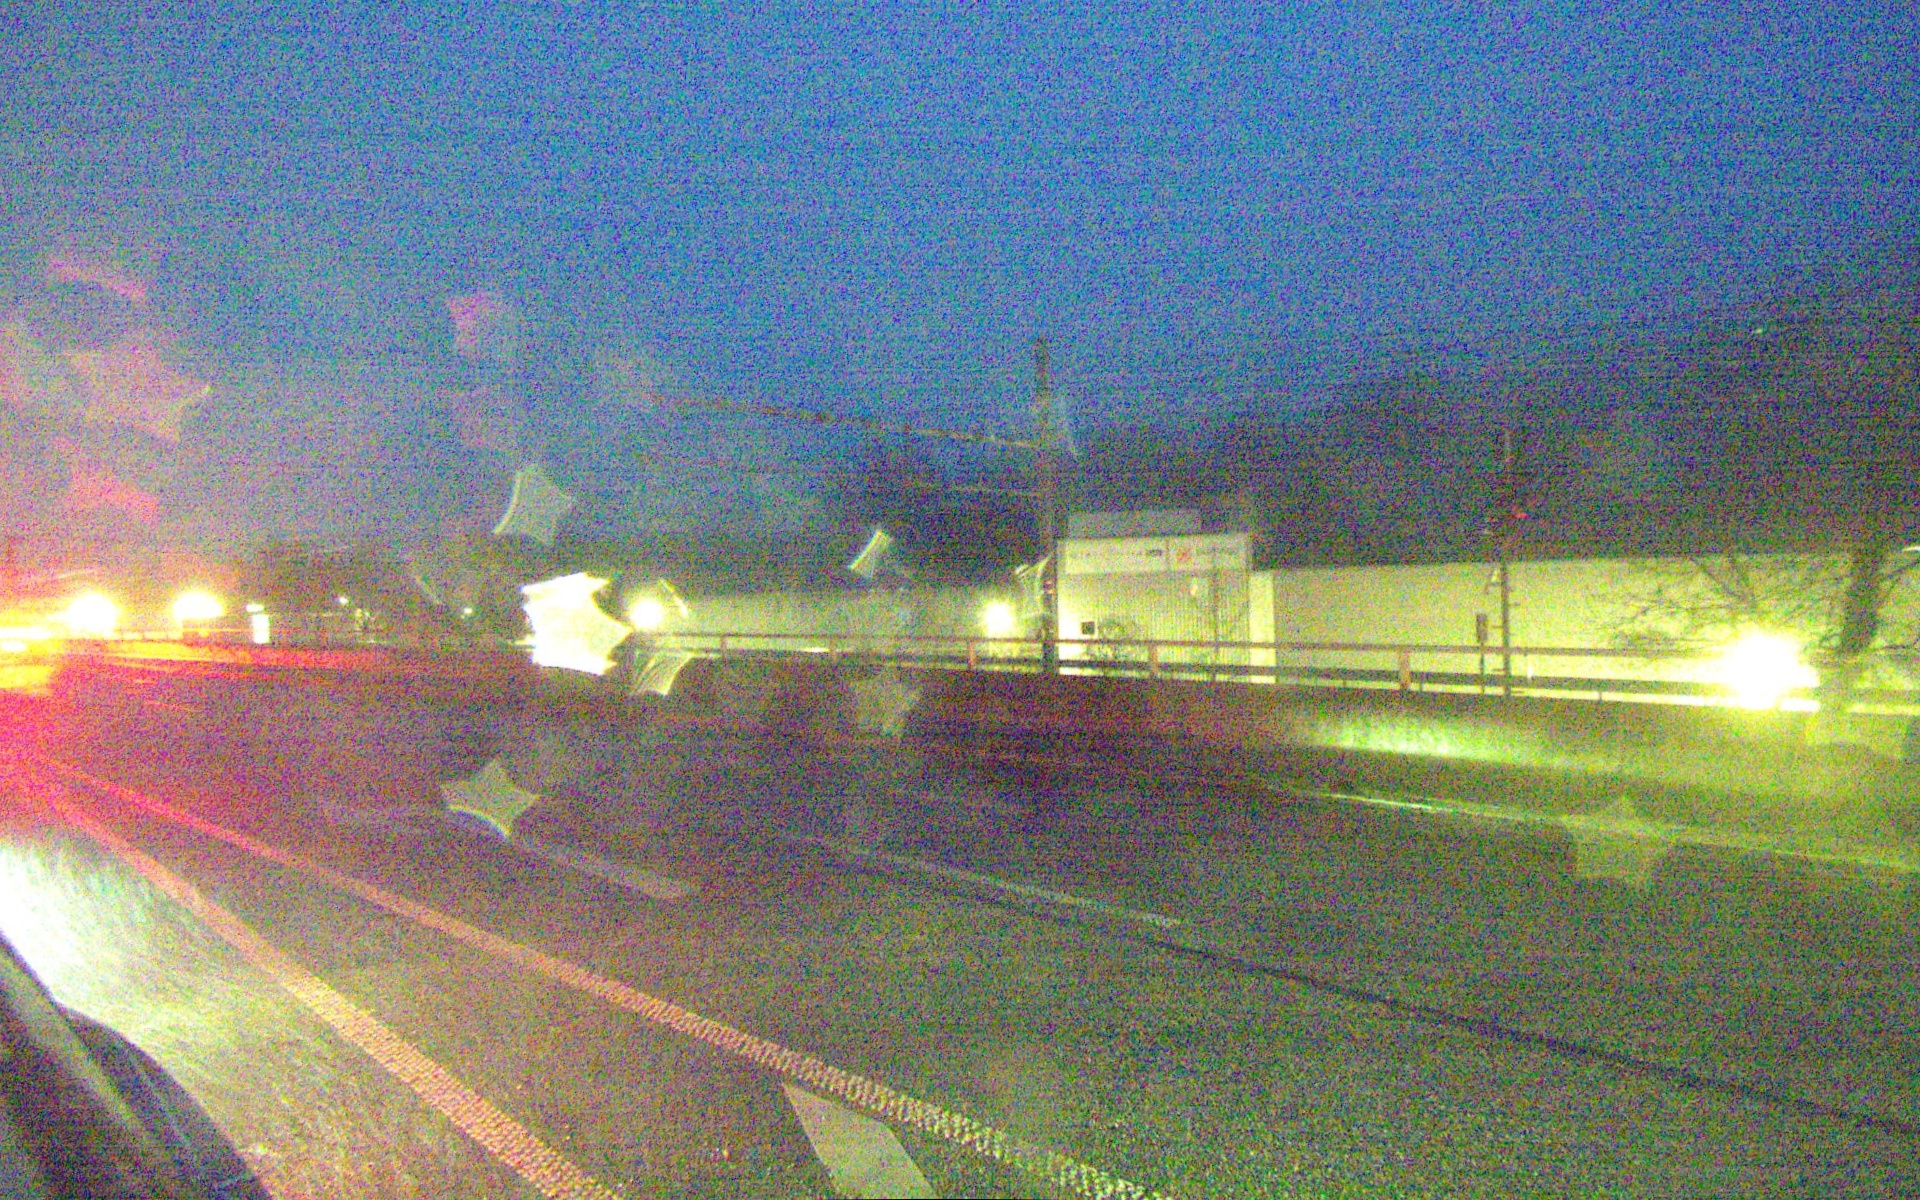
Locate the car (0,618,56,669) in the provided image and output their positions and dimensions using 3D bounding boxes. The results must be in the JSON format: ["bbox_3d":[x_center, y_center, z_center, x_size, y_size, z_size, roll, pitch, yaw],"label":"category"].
[{"bbox_3d":[-31.761,1.469,33.525,4.478,1.580,1.870,-3,-2,37],"label":"car"}]
